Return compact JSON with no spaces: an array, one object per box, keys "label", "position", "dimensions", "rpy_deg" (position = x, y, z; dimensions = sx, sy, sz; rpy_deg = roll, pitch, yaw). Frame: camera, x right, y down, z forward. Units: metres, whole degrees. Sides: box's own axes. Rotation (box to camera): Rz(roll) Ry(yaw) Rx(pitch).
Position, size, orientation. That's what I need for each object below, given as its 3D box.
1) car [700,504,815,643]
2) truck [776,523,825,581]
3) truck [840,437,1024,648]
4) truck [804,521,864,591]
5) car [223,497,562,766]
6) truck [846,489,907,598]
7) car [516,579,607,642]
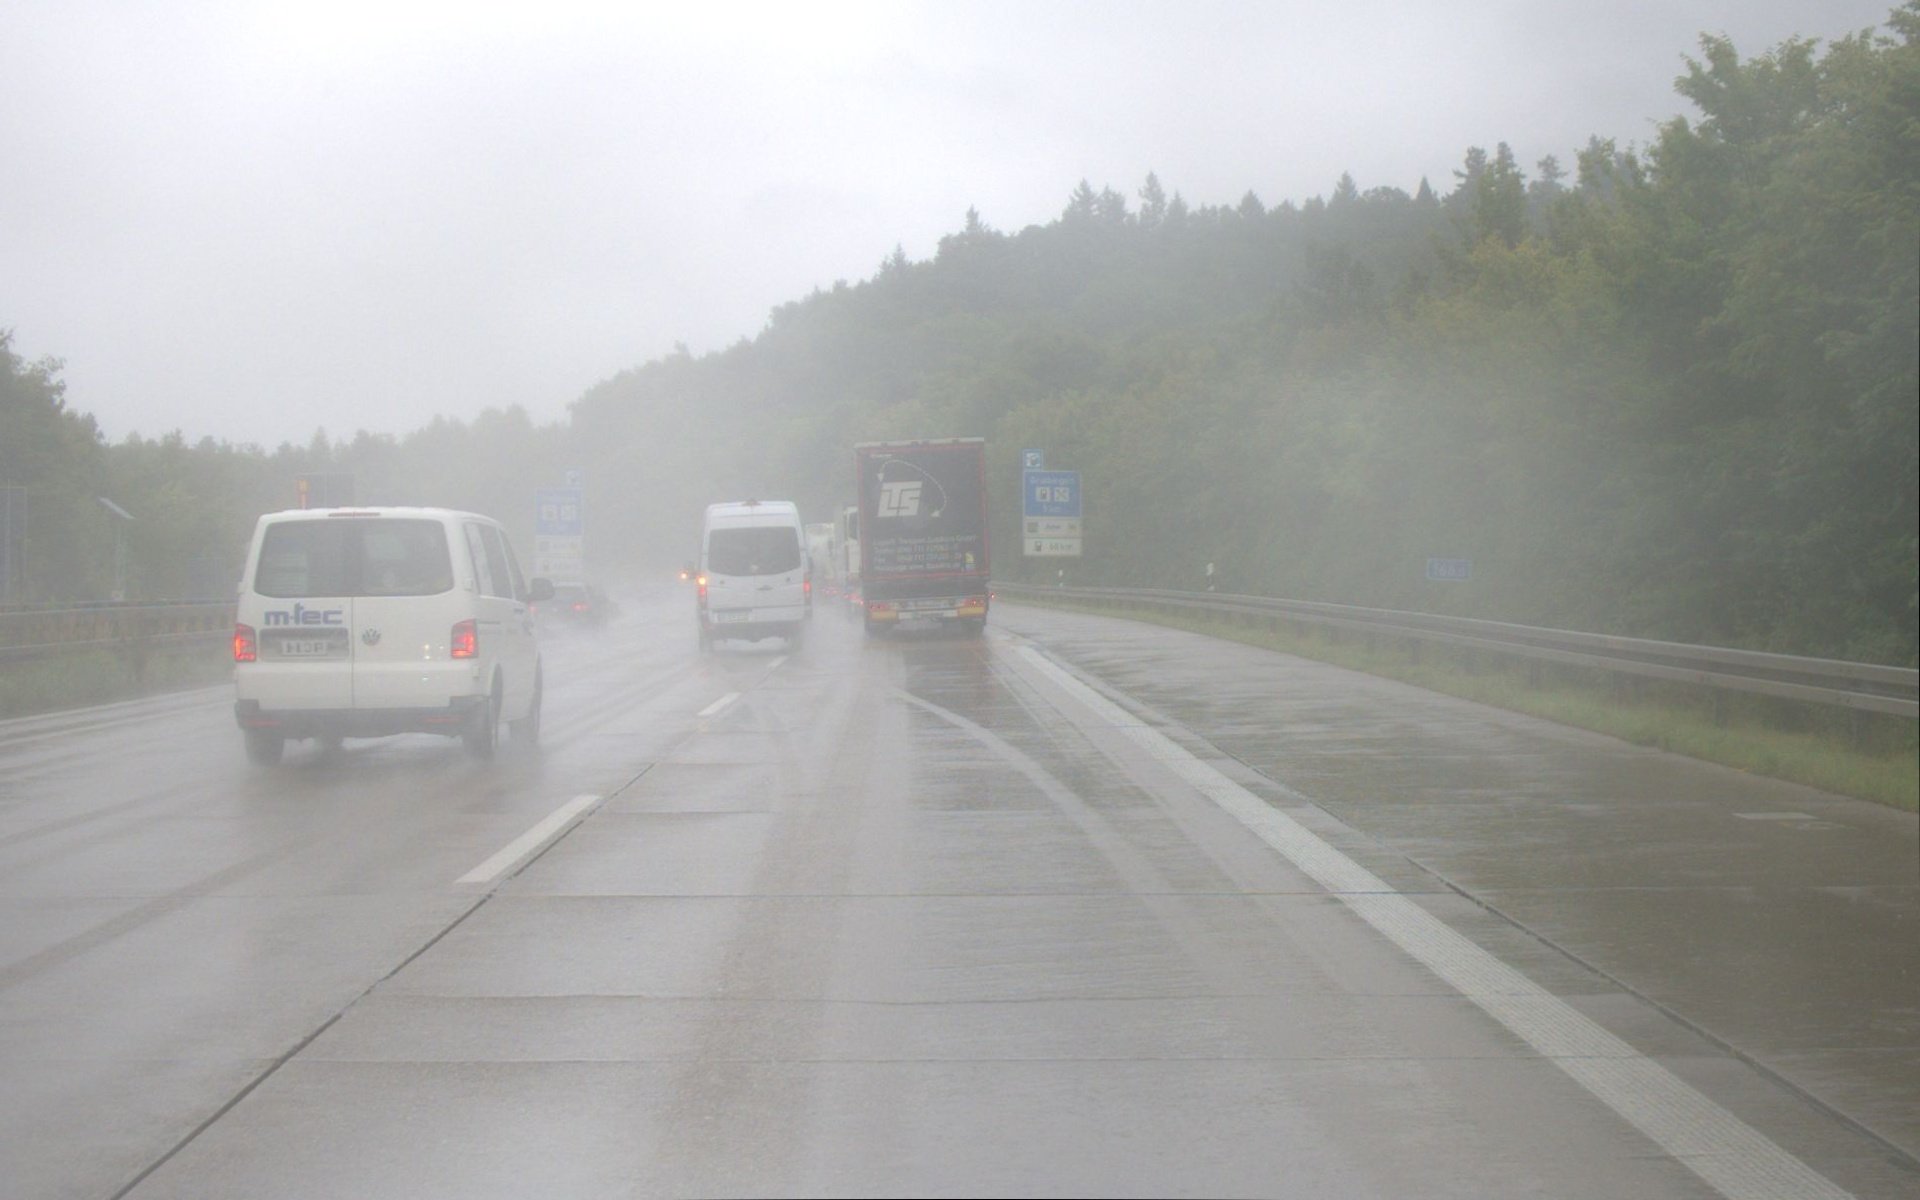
[{"label":"car","position":[-3.608,-0.488,61.084],"dimensions":[1.899,2.326,5.251],"rpy_deg":[2,1,-4]},{"label":"truck","position":[-9.012,-2.687,193.709],"dimensions":[1.993,3.159,6.735],"rpy_deg":[-2,1,-8]},{"label":"truck","position":[-0.671,-1.333,72.326],"dimensions":[3.385,3.954,8.668],"rpy_deg":[-4,3,-1]},{"label":"truck","position":[-5.923,-2.050,161.168],"dimensions":[1.993,3.159,6.735],"rpy_deg":[-2,1,-8]},{"label":"car","position":[-4.342,0.192,27.054],"dimensions":[1.899,1.888,5.043],"rpy_deg":[-1,1,-1]},{"label":"truck","position":[-3.007,-2.055,124.723],"dimensions":[1.993,3.793,6.734],"rpy_deg":[-2,1,0]},{"label":"car","position":[-9.004,0.218,77.924],"dimensions":[1.740,1.383,4.322],"rpy_deg":[-1,0,-3]}]
